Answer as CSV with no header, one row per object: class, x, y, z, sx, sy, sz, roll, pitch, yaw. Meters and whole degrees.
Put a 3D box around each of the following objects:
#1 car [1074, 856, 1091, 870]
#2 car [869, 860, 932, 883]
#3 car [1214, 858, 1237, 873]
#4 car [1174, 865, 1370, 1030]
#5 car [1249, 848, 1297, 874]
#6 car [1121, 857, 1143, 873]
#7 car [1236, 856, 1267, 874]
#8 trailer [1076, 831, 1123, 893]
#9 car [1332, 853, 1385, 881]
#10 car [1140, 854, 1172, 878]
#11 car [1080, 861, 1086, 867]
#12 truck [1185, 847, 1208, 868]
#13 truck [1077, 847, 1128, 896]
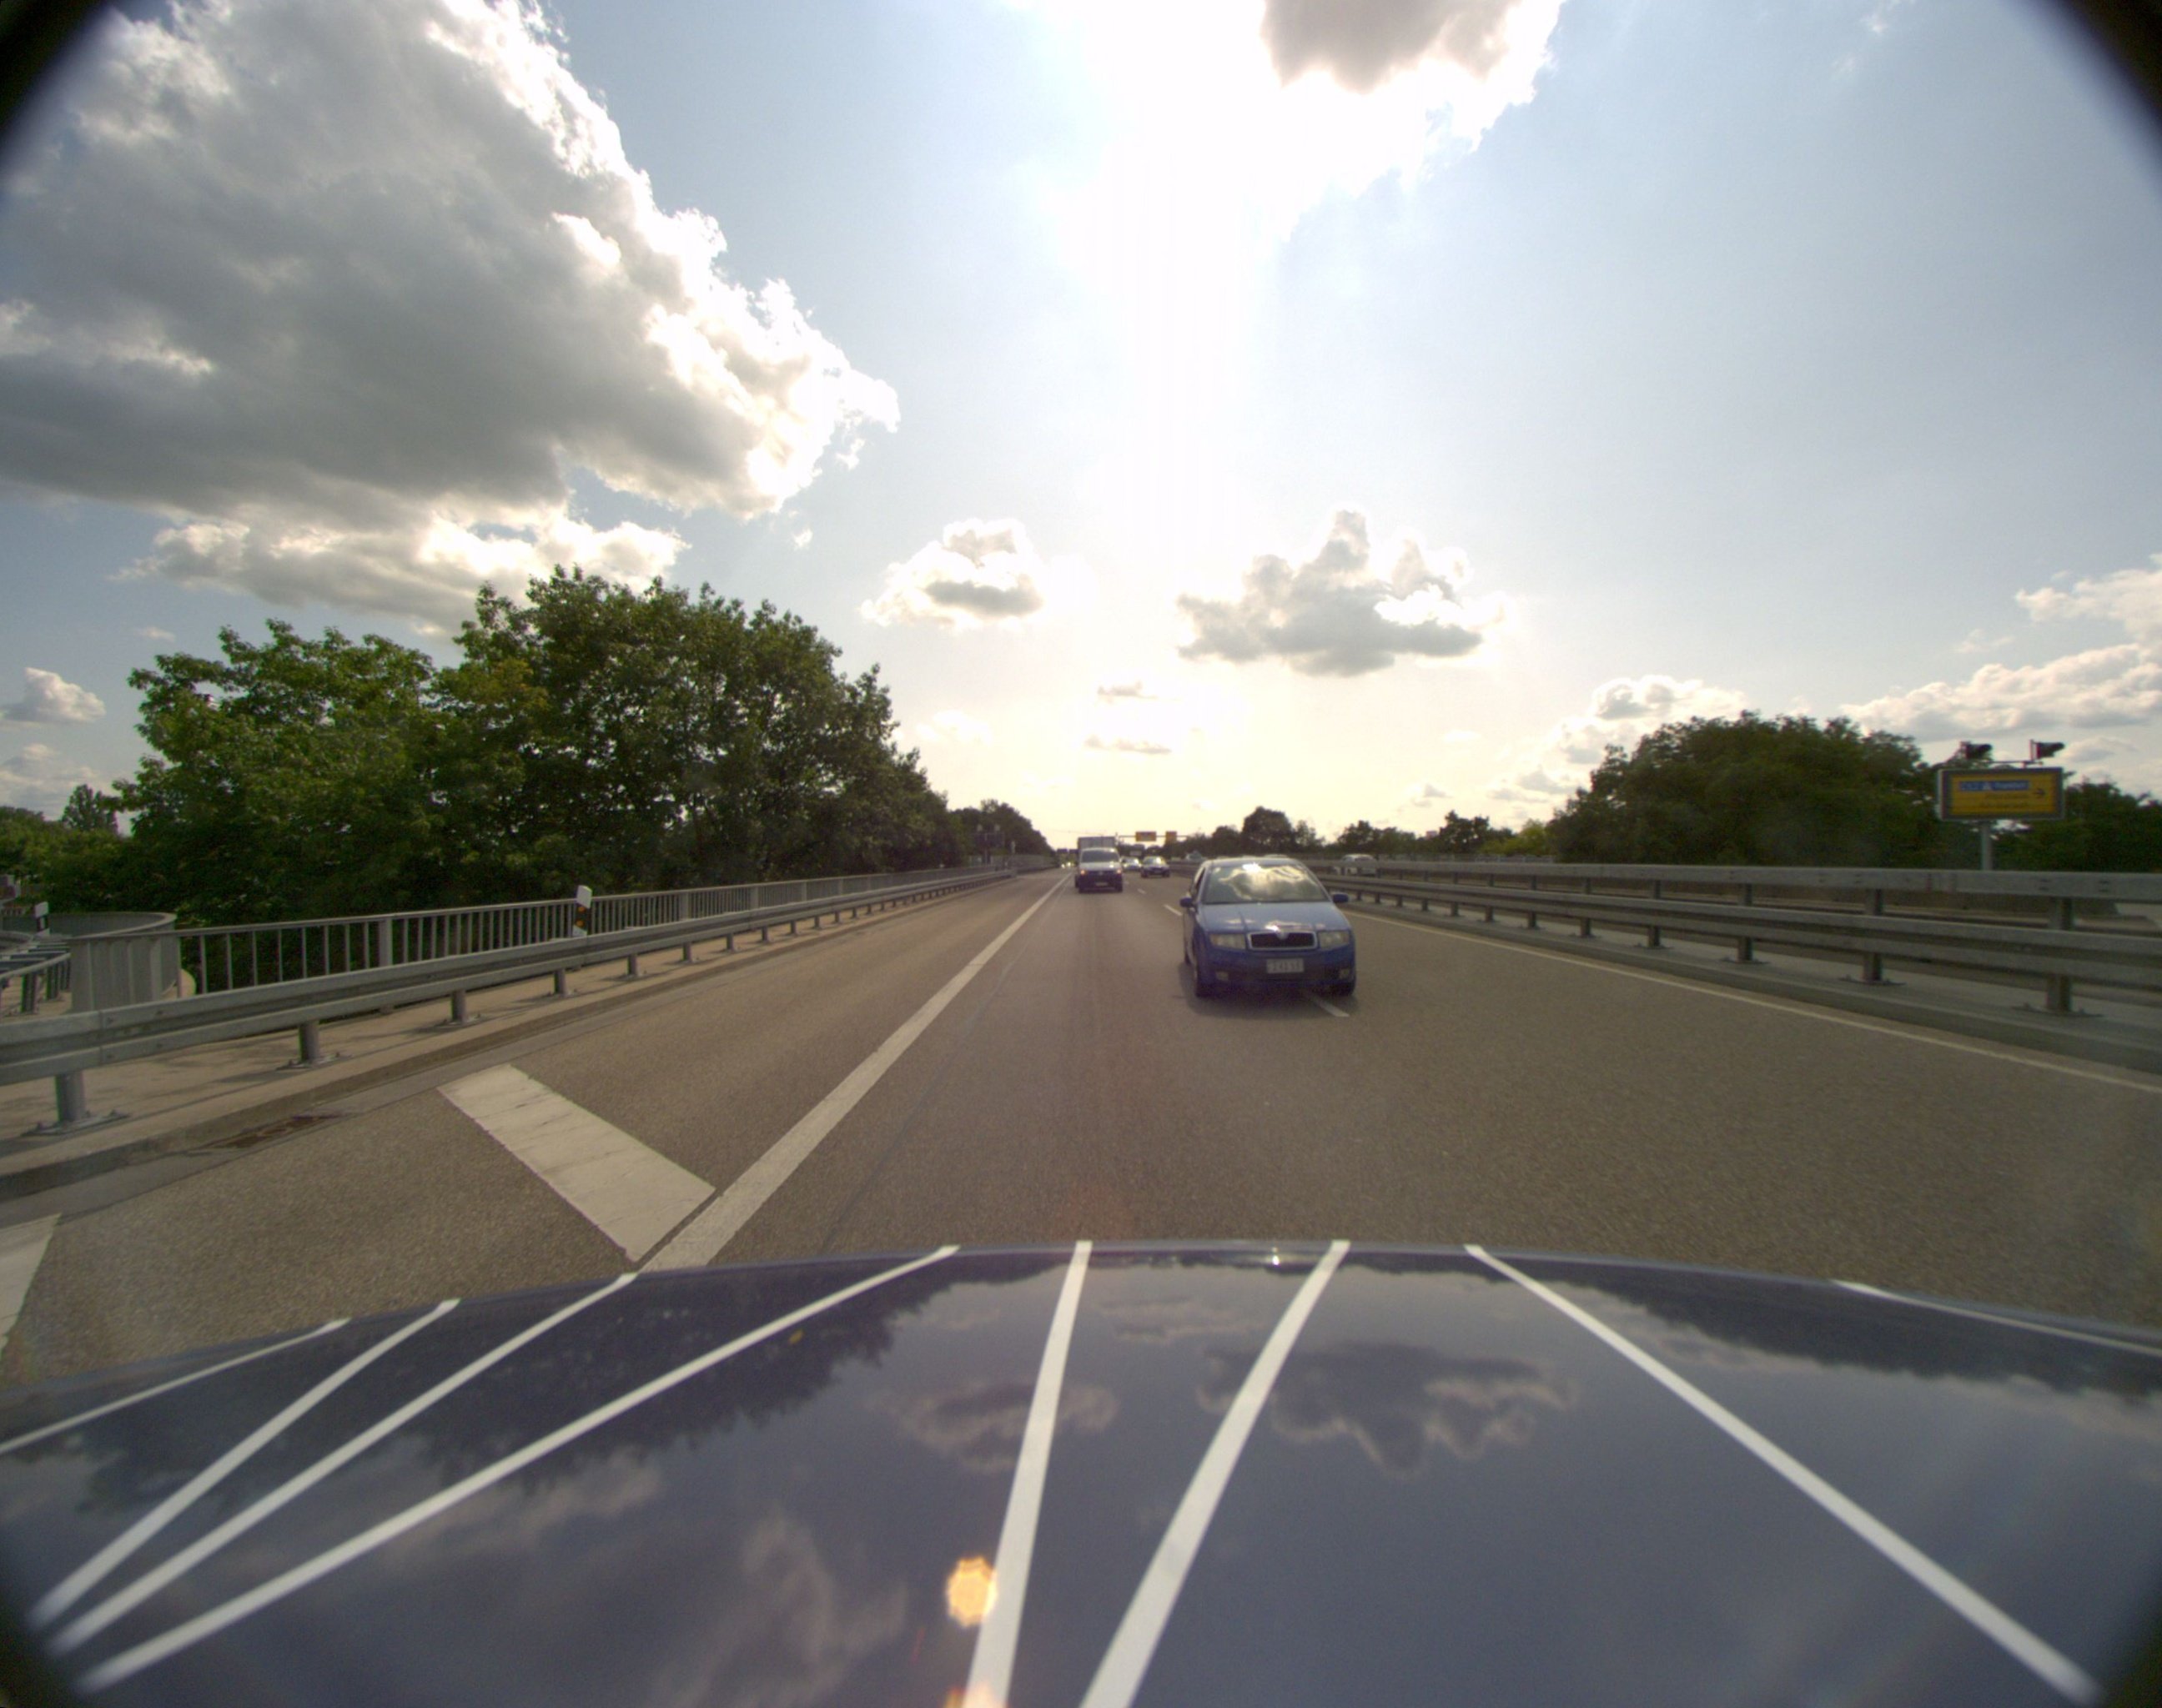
car,0.215,1.037,88.745,1.802,1.586,3.985,-2,0,1
car,-12.264,1.185,51.760,1.765,1.403,3.779,-2,0,42
car,16.768,1.362,88.366,1.826,1.629,4.000,-2,0,0
car,1.981,0.896,8.867,1.625,1.403,3.773,-2,0,5
car,12.506,0.444,49.725,1.907,1.520,4.242,-2,0,-2
car,5.081,1.068,75.892,1.895,1.518,4.465,-2,0,1
car,17.357,1.089,77.526,1.896,1.630,4.512,-2,0,-2
trailer,0.823,0.352,37.333,1.999,2.723,5.967,-2,0,0
car,16.954,0.765,46.590,1.833,1.572,3.954,-2,0,2
car,5.220,0.809,53.235,1.779,1.518,4.465,-2,0,1
car,0.624,3.002,230.655,1.895,1.518,4.465,-2,0,1
truck,12.786,0.382,84.191,1.877,2.174,5.188,-2,0,2
truck,0.856,0.707,32.305,2.008,1.905,4.000,-1,0,0
